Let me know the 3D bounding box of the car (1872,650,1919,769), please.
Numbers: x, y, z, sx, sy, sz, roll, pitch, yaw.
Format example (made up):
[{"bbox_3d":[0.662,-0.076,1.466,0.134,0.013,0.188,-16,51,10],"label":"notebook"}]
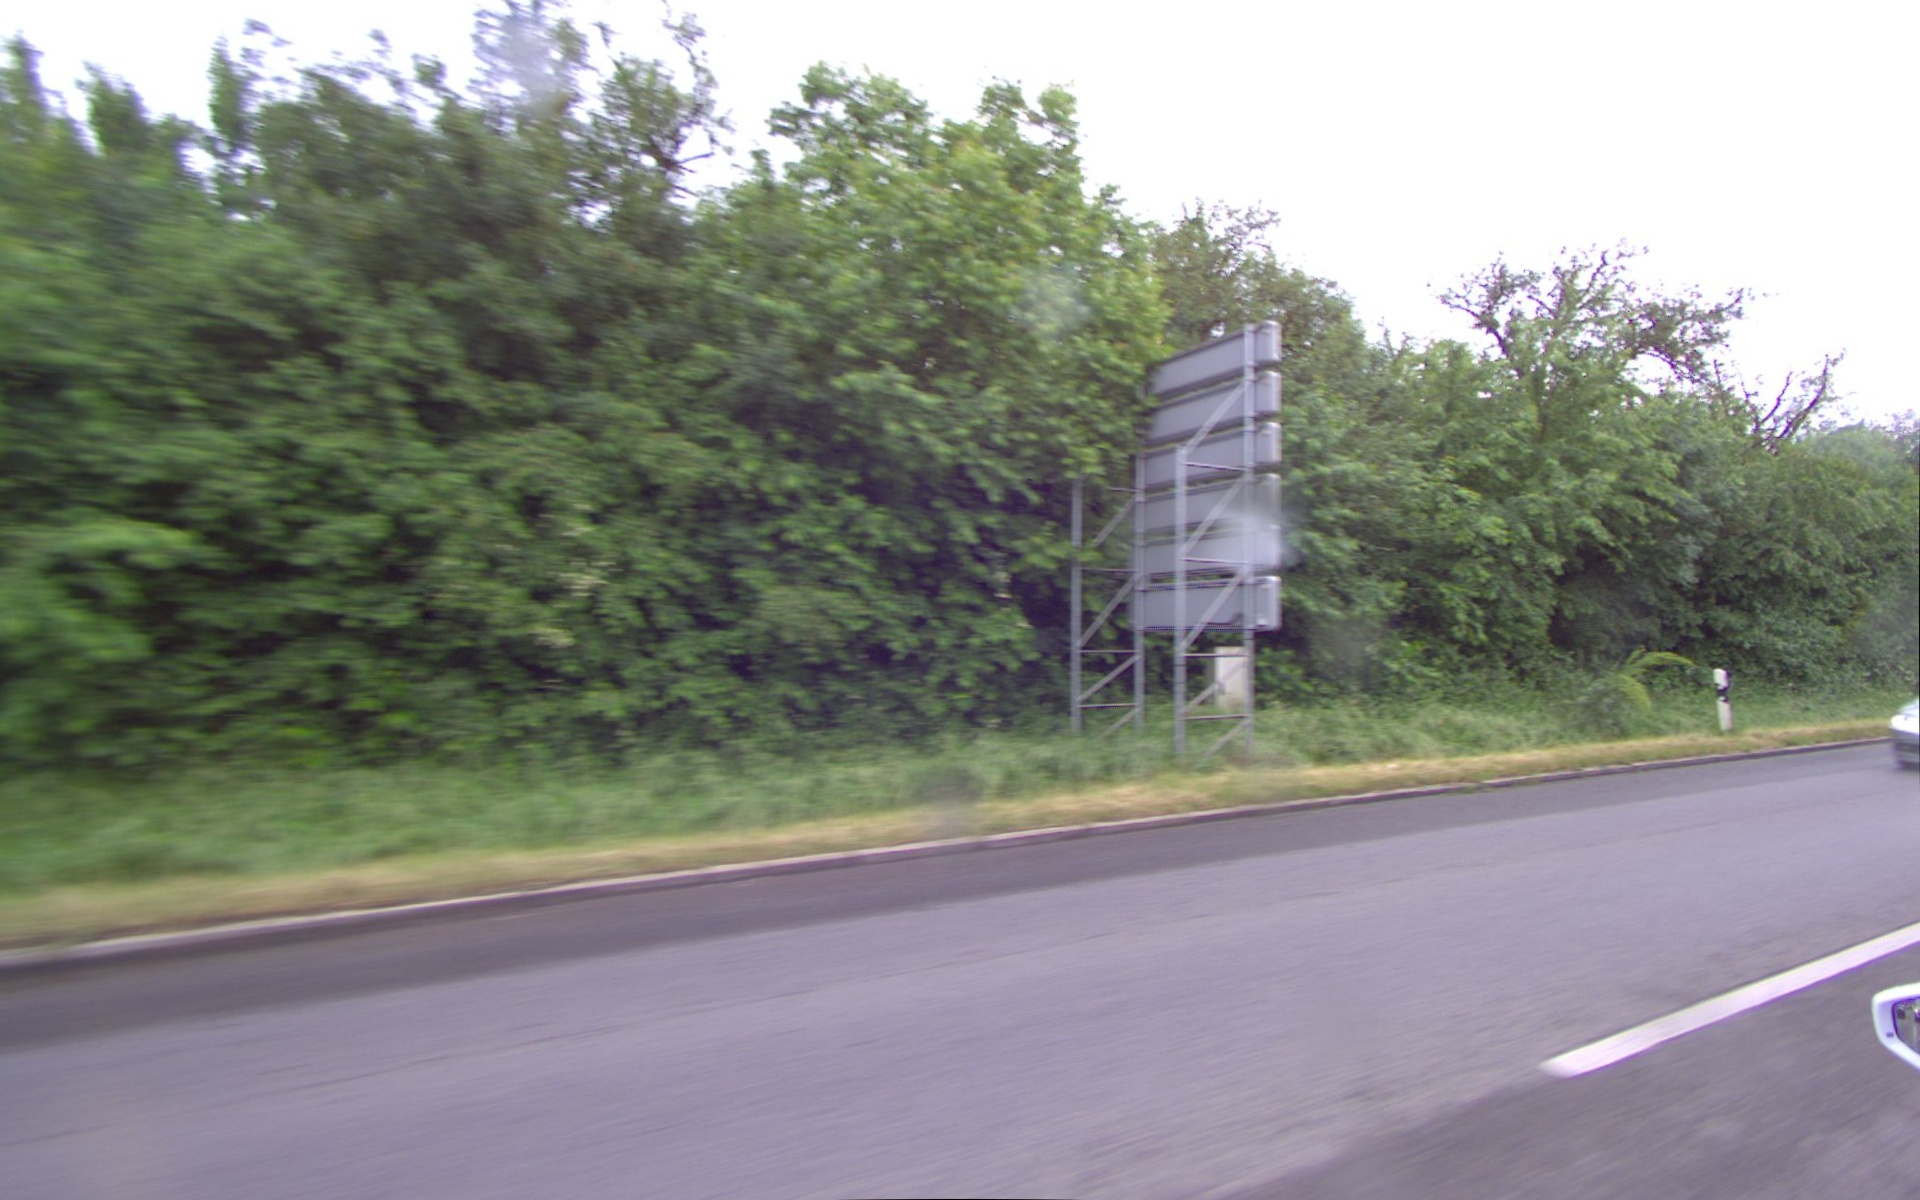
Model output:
[{"bbox_3d":[13.286,1.325,12.396,4.332,1.372,1.881,2,-2,-31],"label":"car"}]
